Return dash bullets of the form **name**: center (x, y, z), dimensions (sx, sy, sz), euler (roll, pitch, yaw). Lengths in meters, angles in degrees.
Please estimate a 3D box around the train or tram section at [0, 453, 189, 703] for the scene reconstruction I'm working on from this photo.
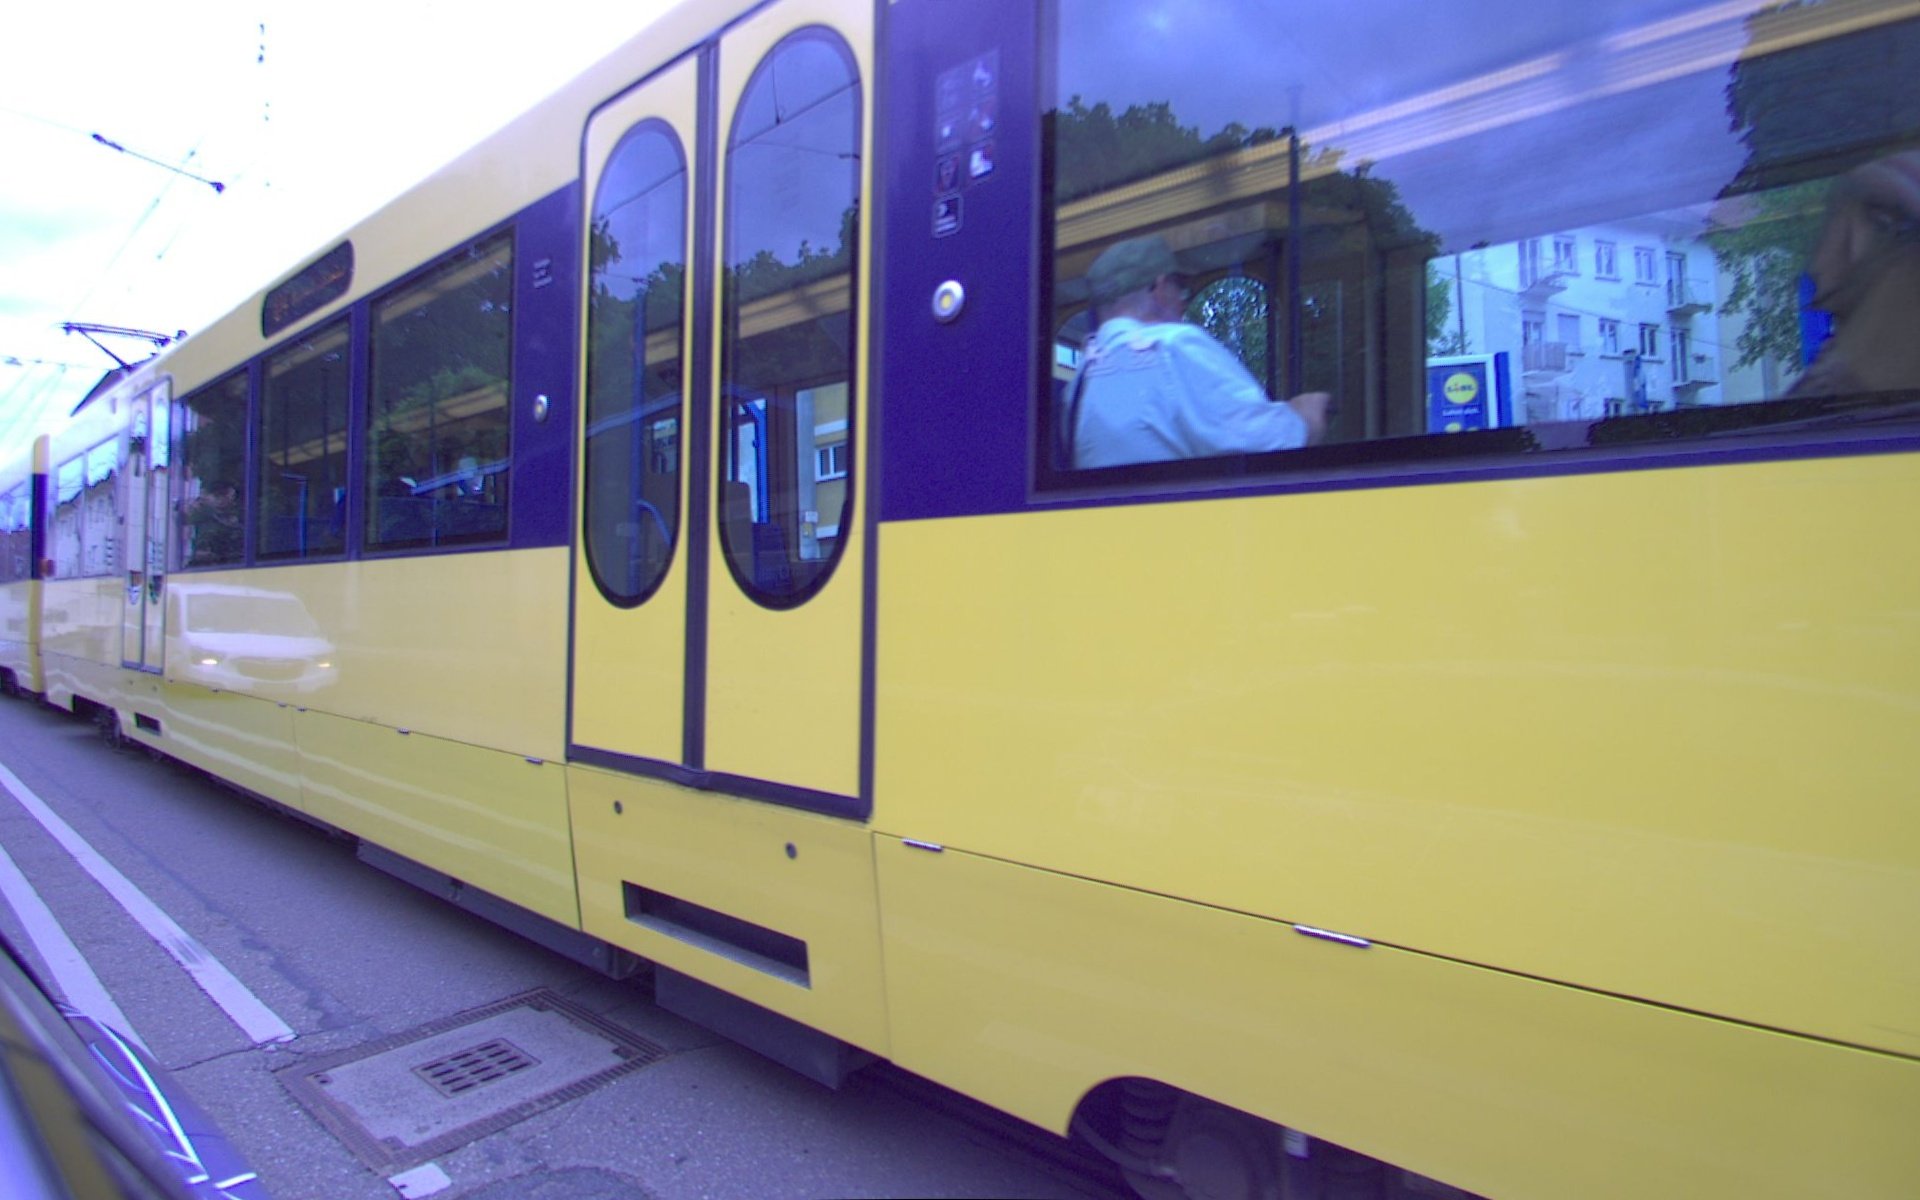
- **train or tram section**: center (-18.064, -0.276, 19.458), dimensions (12.123, 3.664, 2.723), euler (-1, 0, 41)

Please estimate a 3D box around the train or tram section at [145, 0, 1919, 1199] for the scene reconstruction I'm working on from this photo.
- **train or tram section**: center (0.271, -0.382, 3.541), dimensions (12.124, 3.664, 2.820), euler (-1, 0, 41)

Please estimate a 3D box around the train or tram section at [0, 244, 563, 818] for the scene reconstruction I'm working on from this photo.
- **train or tram section**: center (-8.870, -0.395, 11.496), dimensions (12.123, 3.664, 2.795), euler (-1, 0, 41)
